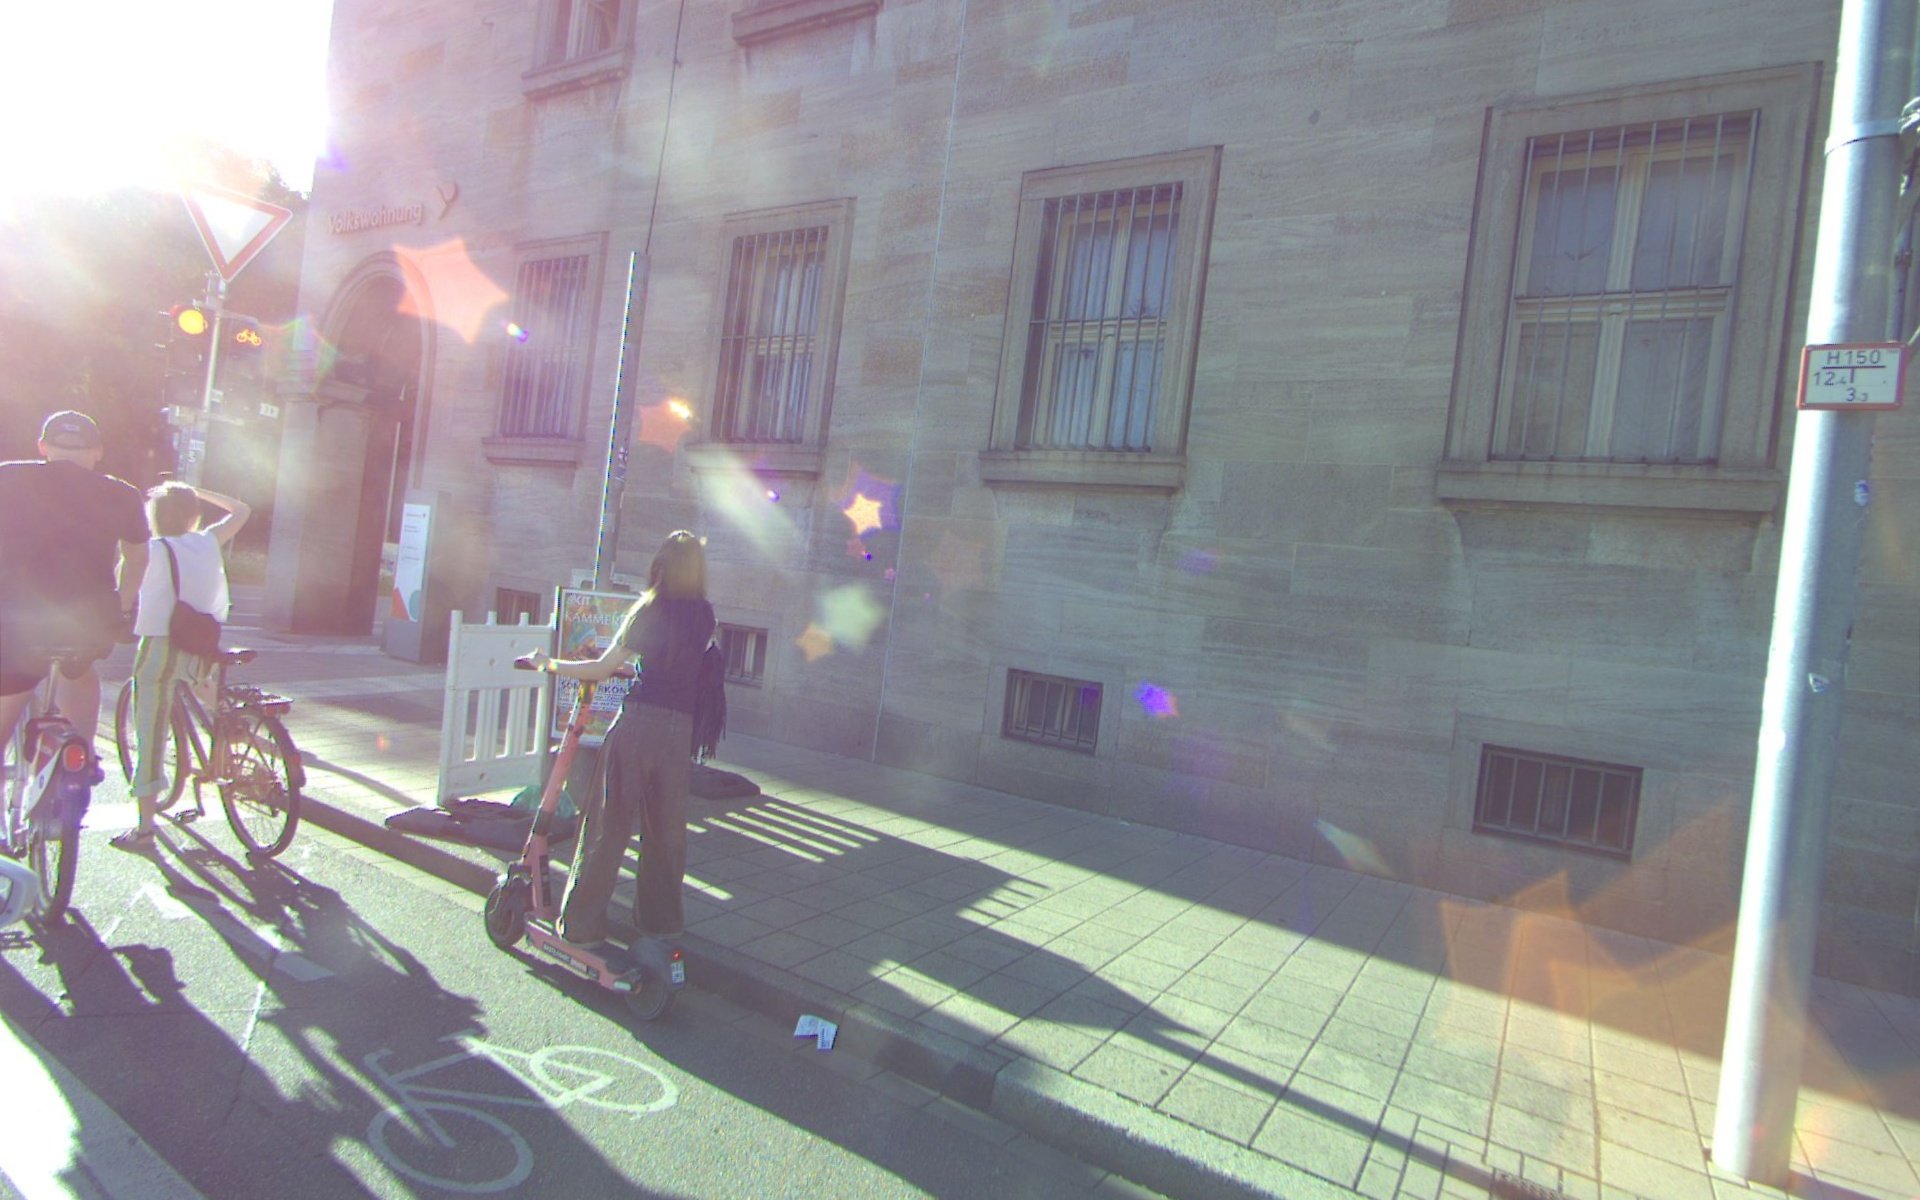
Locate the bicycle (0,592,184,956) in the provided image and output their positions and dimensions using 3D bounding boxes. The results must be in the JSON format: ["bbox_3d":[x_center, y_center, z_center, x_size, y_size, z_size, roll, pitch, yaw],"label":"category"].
[{"bbox_3d":[-3.747,0.575,3.935,1.700,1.090,0.516,7,-1,34],"label":"bicycle"}]

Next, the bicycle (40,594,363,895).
[{"bbox_3d":[-3.691,0.622,4.852,1.721,1.090,0.535,7,-1,31],"label":"bicycle"}]

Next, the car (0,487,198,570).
[{"bbox_3d":[-23.383,-1.893,27.205,1.622,1.630,3.999,7,-1,31],"label":"car"}]

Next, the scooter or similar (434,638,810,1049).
[{"bbox_3d":[-1.322,0.834,3.868,1.305,1.199,0.535,7,0,31],"label":"scooter or similar"}]

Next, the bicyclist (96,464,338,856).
[{"bbox_3d":[-3.544,0.267,4.814,0.629,1.711,0.558,7,-1,30],"label":"bicyclist"}]

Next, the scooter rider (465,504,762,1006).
[{"bbox_3d":[-1.310,0.544,3.876,0.547,1.691,0.730,7,0,30],"label":"scooter rider"}]

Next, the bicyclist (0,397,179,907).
[{"bbox_3d":[-3.558,0.194,3.864,0.541,1.820,0.559,7,-1,33],"label":"bicyclist"}]

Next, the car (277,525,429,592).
[{"bbox_3d":[-19.807,-1.319,32.975,1.623,1.630,3.854,7,-1,31],"label":"car"}]
